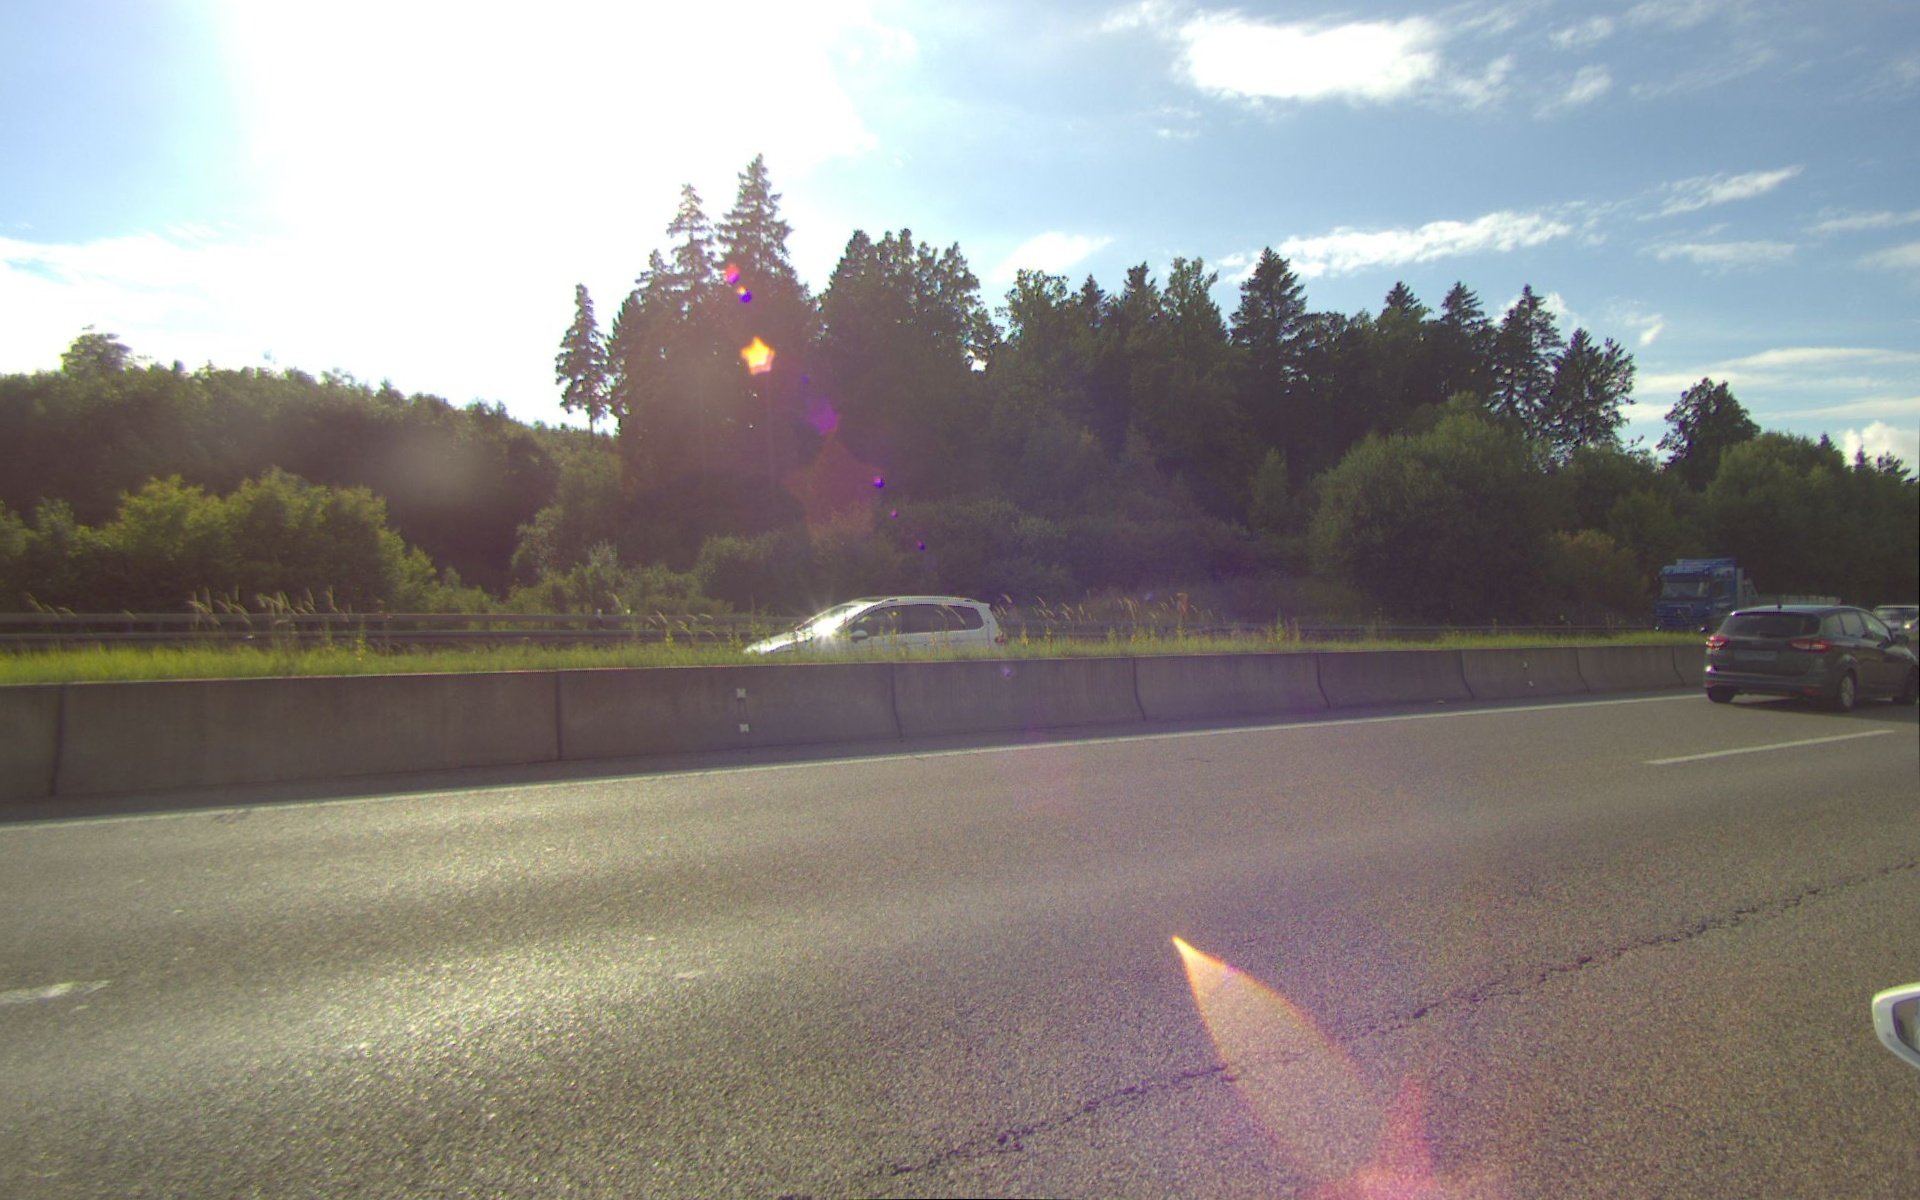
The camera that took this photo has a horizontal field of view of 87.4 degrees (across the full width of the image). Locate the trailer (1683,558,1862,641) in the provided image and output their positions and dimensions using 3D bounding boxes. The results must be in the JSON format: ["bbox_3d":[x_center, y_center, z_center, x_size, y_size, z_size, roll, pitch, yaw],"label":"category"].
[{"bbox_3d":[41.823,0.058,51.511,12.066,3.889,3.109,1,0,-31],"label":"trailer"}]

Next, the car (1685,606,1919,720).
[{"bbox_3d":[13.818,0.918,16.325,4.157,1.607,1.798,0,1,-31],"label":"car"}]

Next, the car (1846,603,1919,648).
[{"bbox_3d":[44.936,1.201,48.359,4.801,2.040,1.984,1,0,-30],"label":"car"}]

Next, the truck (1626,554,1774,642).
[{"bbox_3d":[35.019,-0.041,47.489,7.039,3.889,3.100,1,0,-30],"label":"truck"}]

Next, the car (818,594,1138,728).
[{"bbox_3d":[0.369,0.958,17.446,5.222,1.951,2.086,1,2,-31],"label":"car"}]
